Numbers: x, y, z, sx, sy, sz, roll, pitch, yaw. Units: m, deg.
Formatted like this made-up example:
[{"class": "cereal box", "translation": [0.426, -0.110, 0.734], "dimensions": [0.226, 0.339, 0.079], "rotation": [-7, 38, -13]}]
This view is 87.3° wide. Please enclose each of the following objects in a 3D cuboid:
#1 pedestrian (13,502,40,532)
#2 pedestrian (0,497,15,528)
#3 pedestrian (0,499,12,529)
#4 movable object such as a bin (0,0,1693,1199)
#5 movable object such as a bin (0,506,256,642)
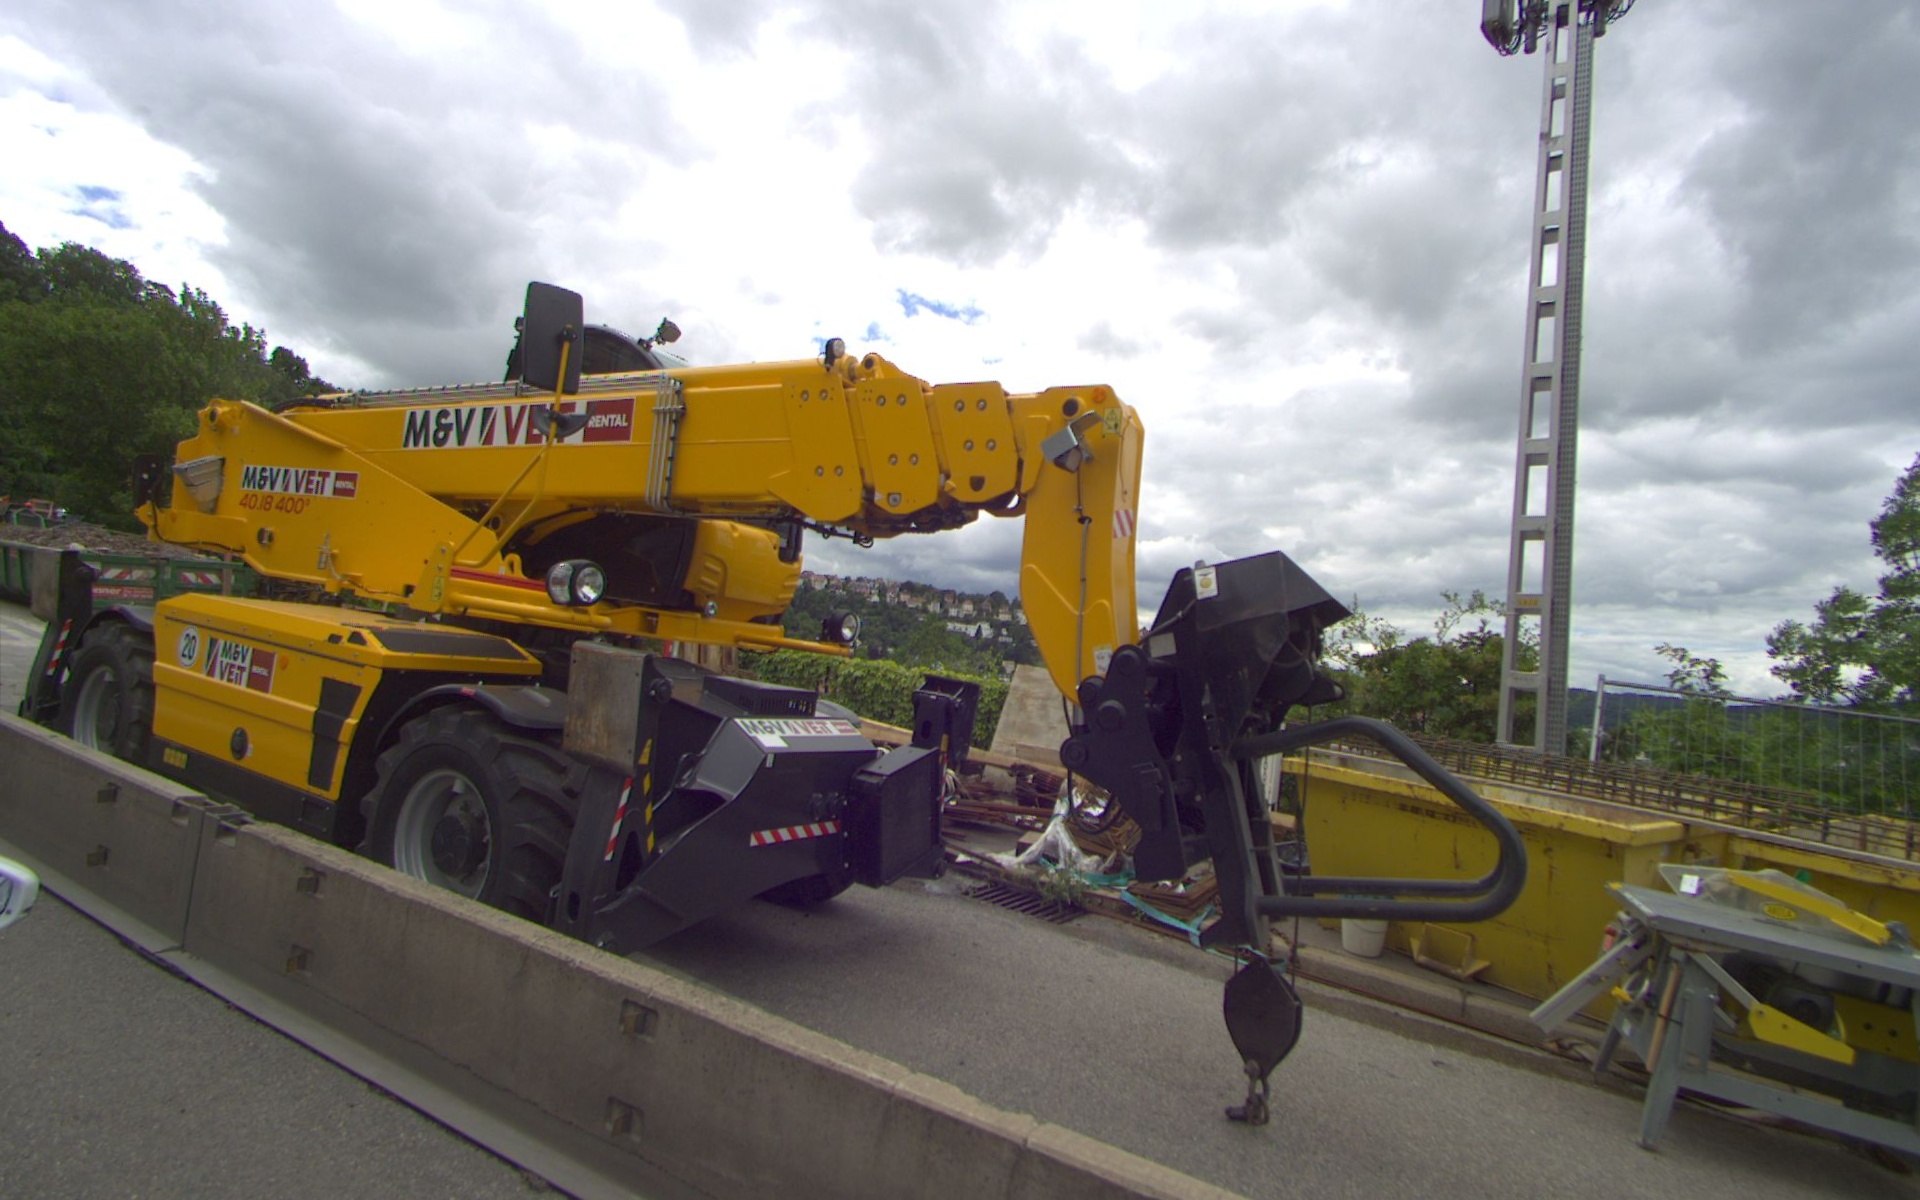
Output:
[{"class": "pedestrian", "translation": [-56.784, -5.043, 61.186], "dimensions": [0.774, 1.708, 0.782], "rotation": [7, 0, -18]}, {"class": "pedestrian", "translation": [-59.466, -5.435, 62.453], "dimensions": [0.870, 1.844, 0.870], "rotation": [8, -1, -34]}, {"class": "pedestrian", "translation": [-58.949, -5.325, 61.670], "dimensions": [0.870, 1.751, 0.870], "rotation": [8, -1, -34]}, {"class": "movable object such as a bin", "translation": [-1.415, -0.085, 5.037], "dimensions": [7.690, 3.105, 2.819], "rotation": [7, -2, 30]}, {"class": "movable object such as a bin", "translation": [-14.829, -0.588, 16.829], "dimensions": [6.982, 1.579, 2.379], "rotation": [6, -3, 32]}]
